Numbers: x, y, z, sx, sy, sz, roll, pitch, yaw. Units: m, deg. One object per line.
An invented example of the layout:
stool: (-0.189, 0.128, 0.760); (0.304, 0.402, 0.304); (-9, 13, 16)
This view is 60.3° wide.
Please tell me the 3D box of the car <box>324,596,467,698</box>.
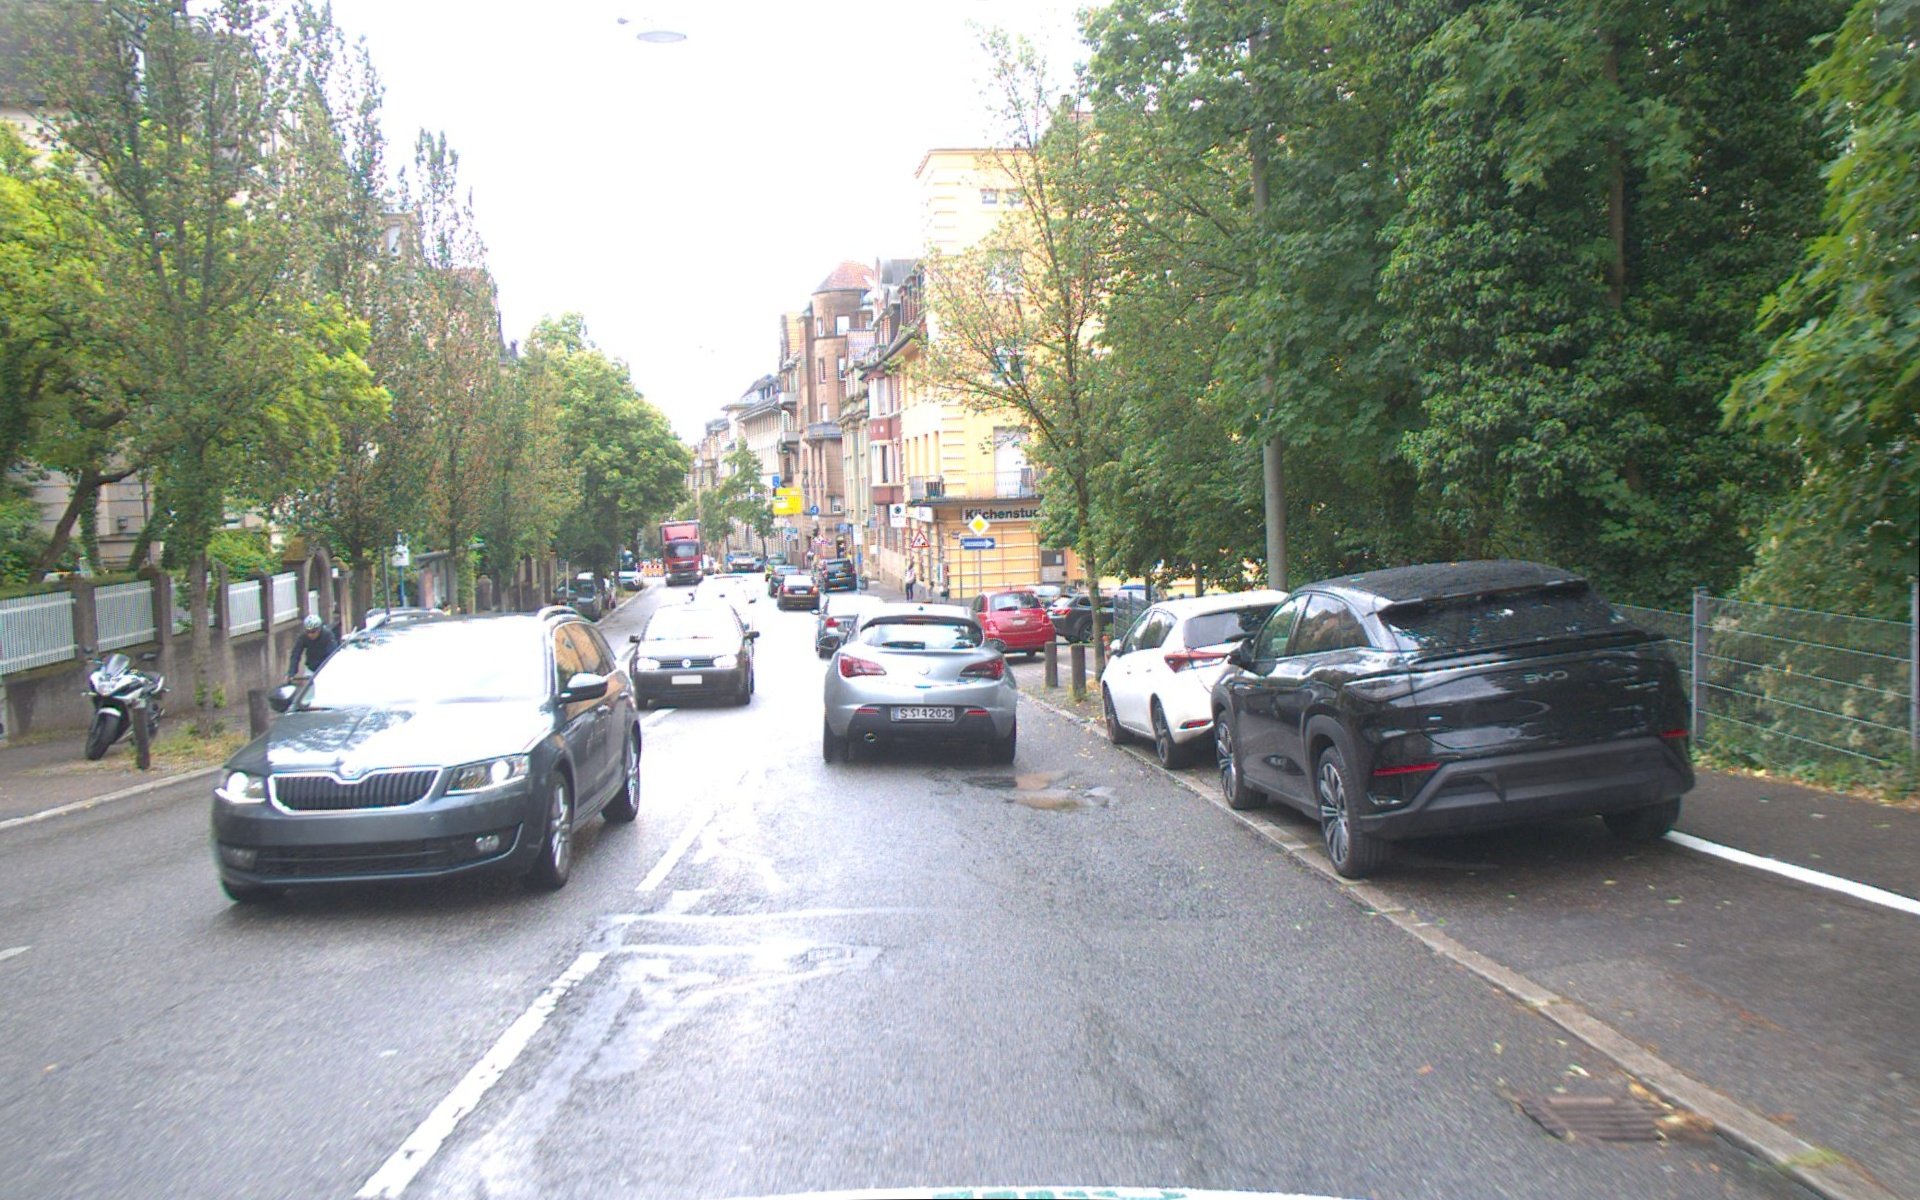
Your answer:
car: (-10.810, 0.840, 31.951); (1.755, 1.679, 4.188); (-5, 1, -8)

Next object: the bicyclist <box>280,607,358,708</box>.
bicyclist: (-7.870, 0.687, 20.353); (0.757, 1.190, 1.078); (0, 0, -14)

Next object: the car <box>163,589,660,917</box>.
car: (-3.005, 0.718, 10.057); (1.703, 1.499, 4.279); (-2, 0, -2)

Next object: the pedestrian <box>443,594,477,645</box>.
pedestrian: (-14.172, 0.556, 46.907); (0.693, 1.366, 0.612); (-5, 1, -5)

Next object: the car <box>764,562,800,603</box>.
car: (-8.774, -0.901, 81.349); (1.609, 1.718, 3.712); (-2, 5, -8)

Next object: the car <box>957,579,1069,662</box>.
car: (1.065, 0.426, 35.363); (1.780, 1.492, 3.995); (-6, 0, -5)

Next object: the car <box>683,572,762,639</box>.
car: (-6.508, 0.126, 45.671); (1.787, 1.679, 3.997); (-3, 1, -4)

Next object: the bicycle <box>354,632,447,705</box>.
bicycle: (-9.959, 1.221, 29.452); (1.437, 1.140, 0.379); (-5, 1, -11)

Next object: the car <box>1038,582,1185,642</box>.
car: (4.140, 0.328, 45.515); (3.703, 1.455, 1.778); (3, -1, -9)

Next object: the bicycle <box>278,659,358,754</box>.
bicycle: (-7.864, 1.272, 20.323); (0.641, 0.999, 2.147); (0, 1, -14)

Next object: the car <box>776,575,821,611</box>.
car: (-6.720, -0.311, 68.466); (1.734, 1.439, 3.711); (1, 1, -7)

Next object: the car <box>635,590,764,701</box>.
car: (-3.838, 0.640, 24.884); (1.629, 1.473, 3.989); (-2, 0, -5)

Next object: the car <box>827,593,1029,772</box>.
car: (-0.406, 0.720, 16.682); (1.779, 1.454, 3.998); (-1, 2, -4)

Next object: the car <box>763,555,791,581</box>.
car: (-11.364, -1.959, 102.630); (1.609, 1.563, 3.710); (-1, 1, -7)

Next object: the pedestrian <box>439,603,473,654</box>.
pedestrian: (-14.058, 0.790, 46.134); (0.693, 1.366, 0.612); (-5, 1, -5)

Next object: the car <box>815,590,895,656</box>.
car: (-2.501, 0.507, 38.664); (1.742, 1.455, 3.781); (0, 0, -5)

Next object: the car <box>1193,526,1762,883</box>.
car: (2.902, 0.529, 10.482); (1.937, 1.637, 4.482); (-4, 0, -3)

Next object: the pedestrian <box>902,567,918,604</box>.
pedestrian: (-2.093, -0.614, 69.586); (0.601, 1.522, 0.552); (-1, 3, -5)

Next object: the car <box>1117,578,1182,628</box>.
car: (6.219, 0.060, 53.924); (1.738, 1.454, 3.790); (0, 3, 12)

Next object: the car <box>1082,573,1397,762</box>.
car: (2.555, 0.597, 16.221); (1.938, 1.477, 4.108); (-4, 0, -6)

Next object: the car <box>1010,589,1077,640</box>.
car: (2.694, 0.436, 52.450); (1.738, 1.454, 3.790); (0, 2, 9)

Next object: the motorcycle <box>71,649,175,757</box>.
motorcycle: (-9.958, 1.192, 19.742); (0.641, 1.141, 2.147); (0, 0, -14)

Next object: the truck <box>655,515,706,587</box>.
truck: (-17.934, -3.263, 106.366); (2.739, 4.202, 10.831); (-5, 4, -9)

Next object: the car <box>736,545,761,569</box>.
car: (-18.171, -3.654, 141.699); (1.751, 1.887, 3.987); (-1, 0, -13)

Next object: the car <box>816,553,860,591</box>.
car: (-6.390, -1.433, 86.125); (1.957, 1.717, 3.995); (-7, 1, -6)
